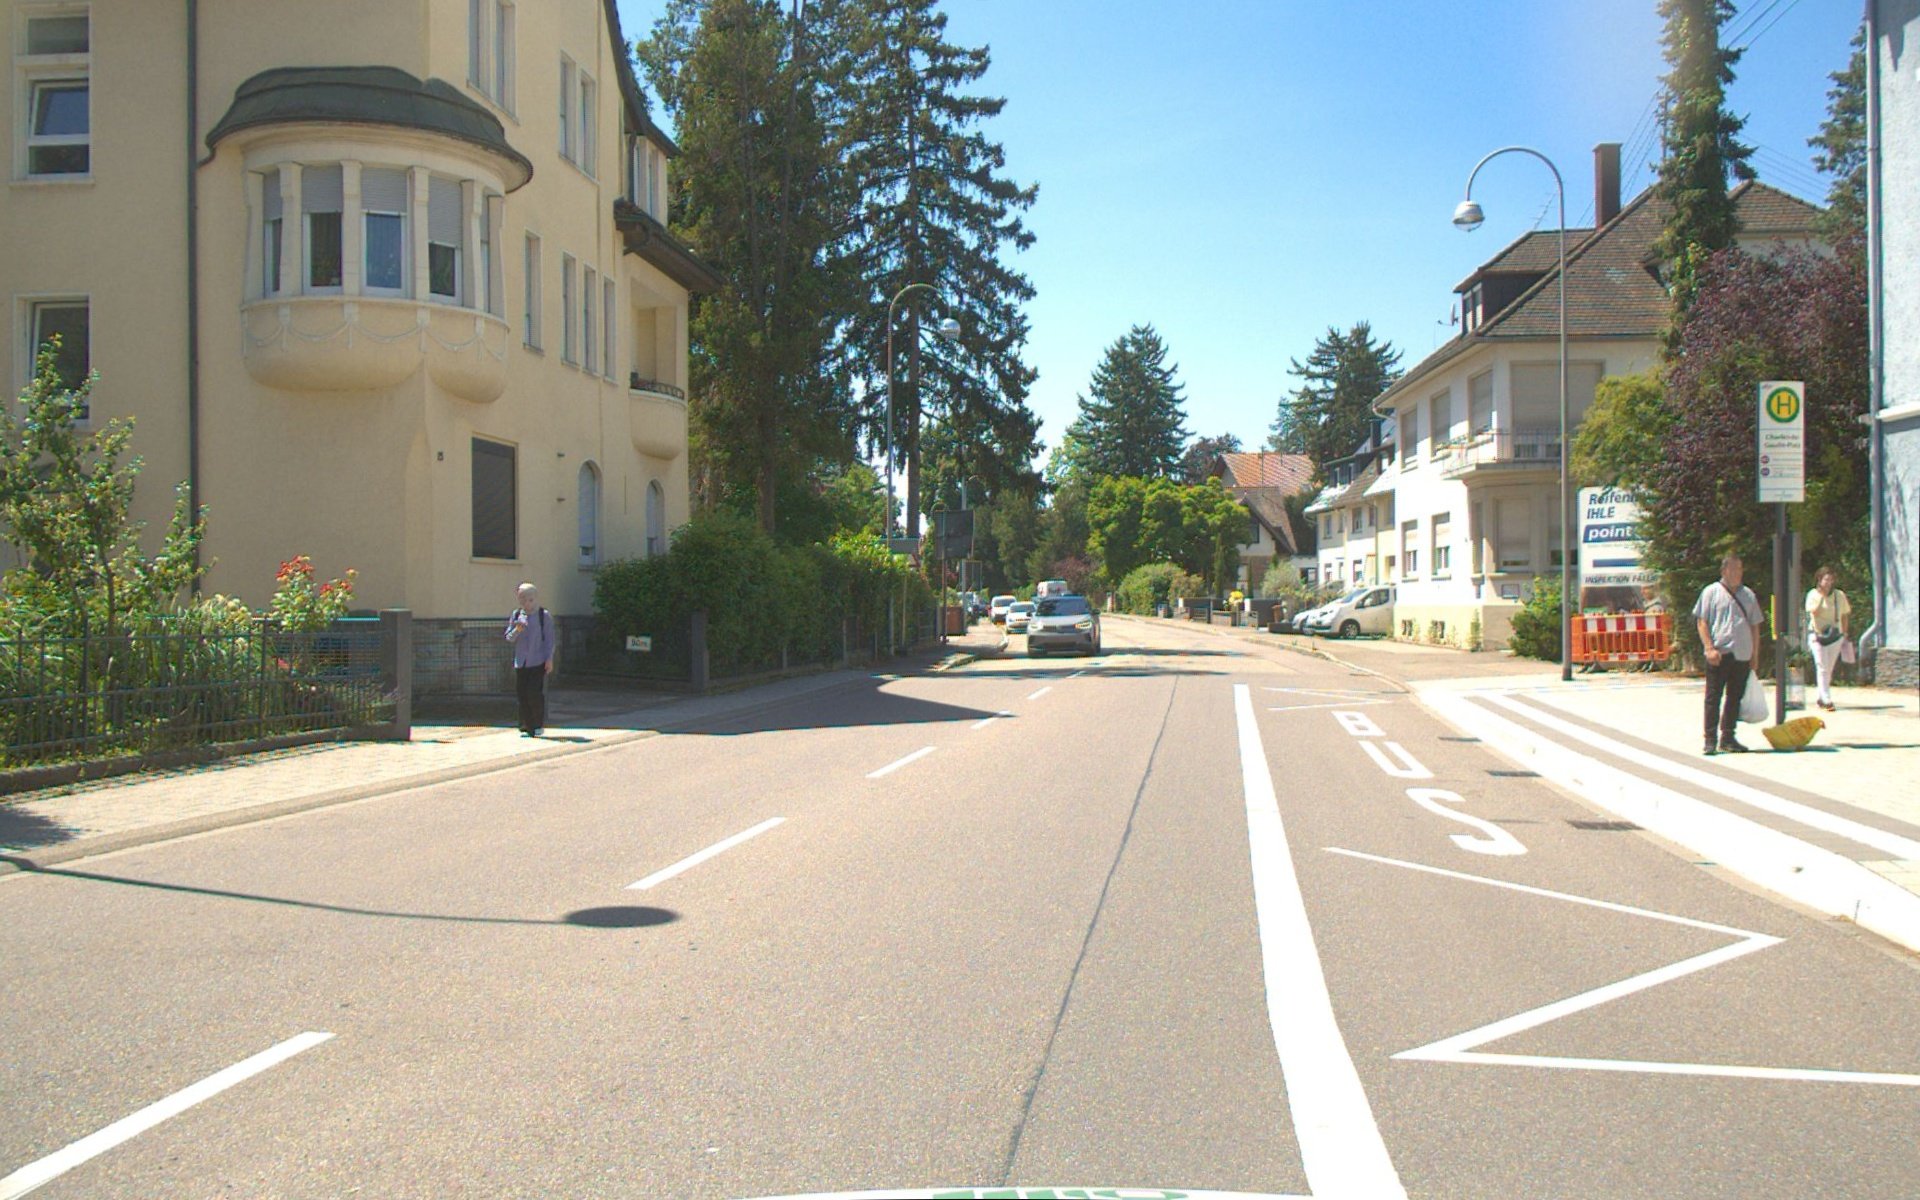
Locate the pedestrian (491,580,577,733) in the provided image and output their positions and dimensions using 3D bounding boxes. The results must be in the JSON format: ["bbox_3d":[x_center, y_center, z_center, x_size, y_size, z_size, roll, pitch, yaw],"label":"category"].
[{"bbox_3d":[-4.567,0.591,17.768,0.600,1.592,0.825,1,0,7],"label":"pedestrian"}]

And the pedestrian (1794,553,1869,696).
[{"bbox_3d":[10.354,0.281,19.672,0.601,1.644,0.751,-3,0,19],"label":"pedestrian"}]

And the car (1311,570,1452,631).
[{"bbox_3d":[14.192,0.003,55.803,4.207,1.862,1.737,2,1,-6],"label":"car"}]

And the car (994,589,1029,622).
[{"bbox_3d":[2.444,0.250,79.140,1.546,1.448,3.941,-3,1,1],"label":"car"}]

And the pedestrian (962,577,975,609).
[{"bbox_3d":[0.530,-0.441,105.056,0.675,1.922,1.019,4,0,4],"label":"pedestrian"}]

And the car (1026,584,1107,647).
[{"bbox_3d":[2.984,0.393,45.652,1.814,1.645,4.300,0,0,9],"label":"car"}]

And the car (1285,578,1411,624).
[{"bbox_3d":[14.368,0.037,61.347,4.217,1.575,1.750,2,-1,35],"label":"car"}]

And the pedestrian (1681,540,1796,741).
[{"bbox_3d":[7.474,0.382,15.907,0.601,1.836,0.750,-4,-1,-2],"label":"pedestrian"}]

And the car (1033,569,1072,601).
[{"bbox_3d":[7.194,-1.188,129.022,2.103,2.355,4.845,-2,1,-7],"label":"car"}]

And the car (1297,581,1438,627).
[{"bbox_3d":[14.387,0.122,58.561,4.543,1.433,1.770,2,1,3],"label":"car"}]

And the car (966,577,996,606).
[{"bbox_3d":[1.338,-0.570,106.705,1.688,1.766,3.886,-3,1,-2],"label":"car"}]
